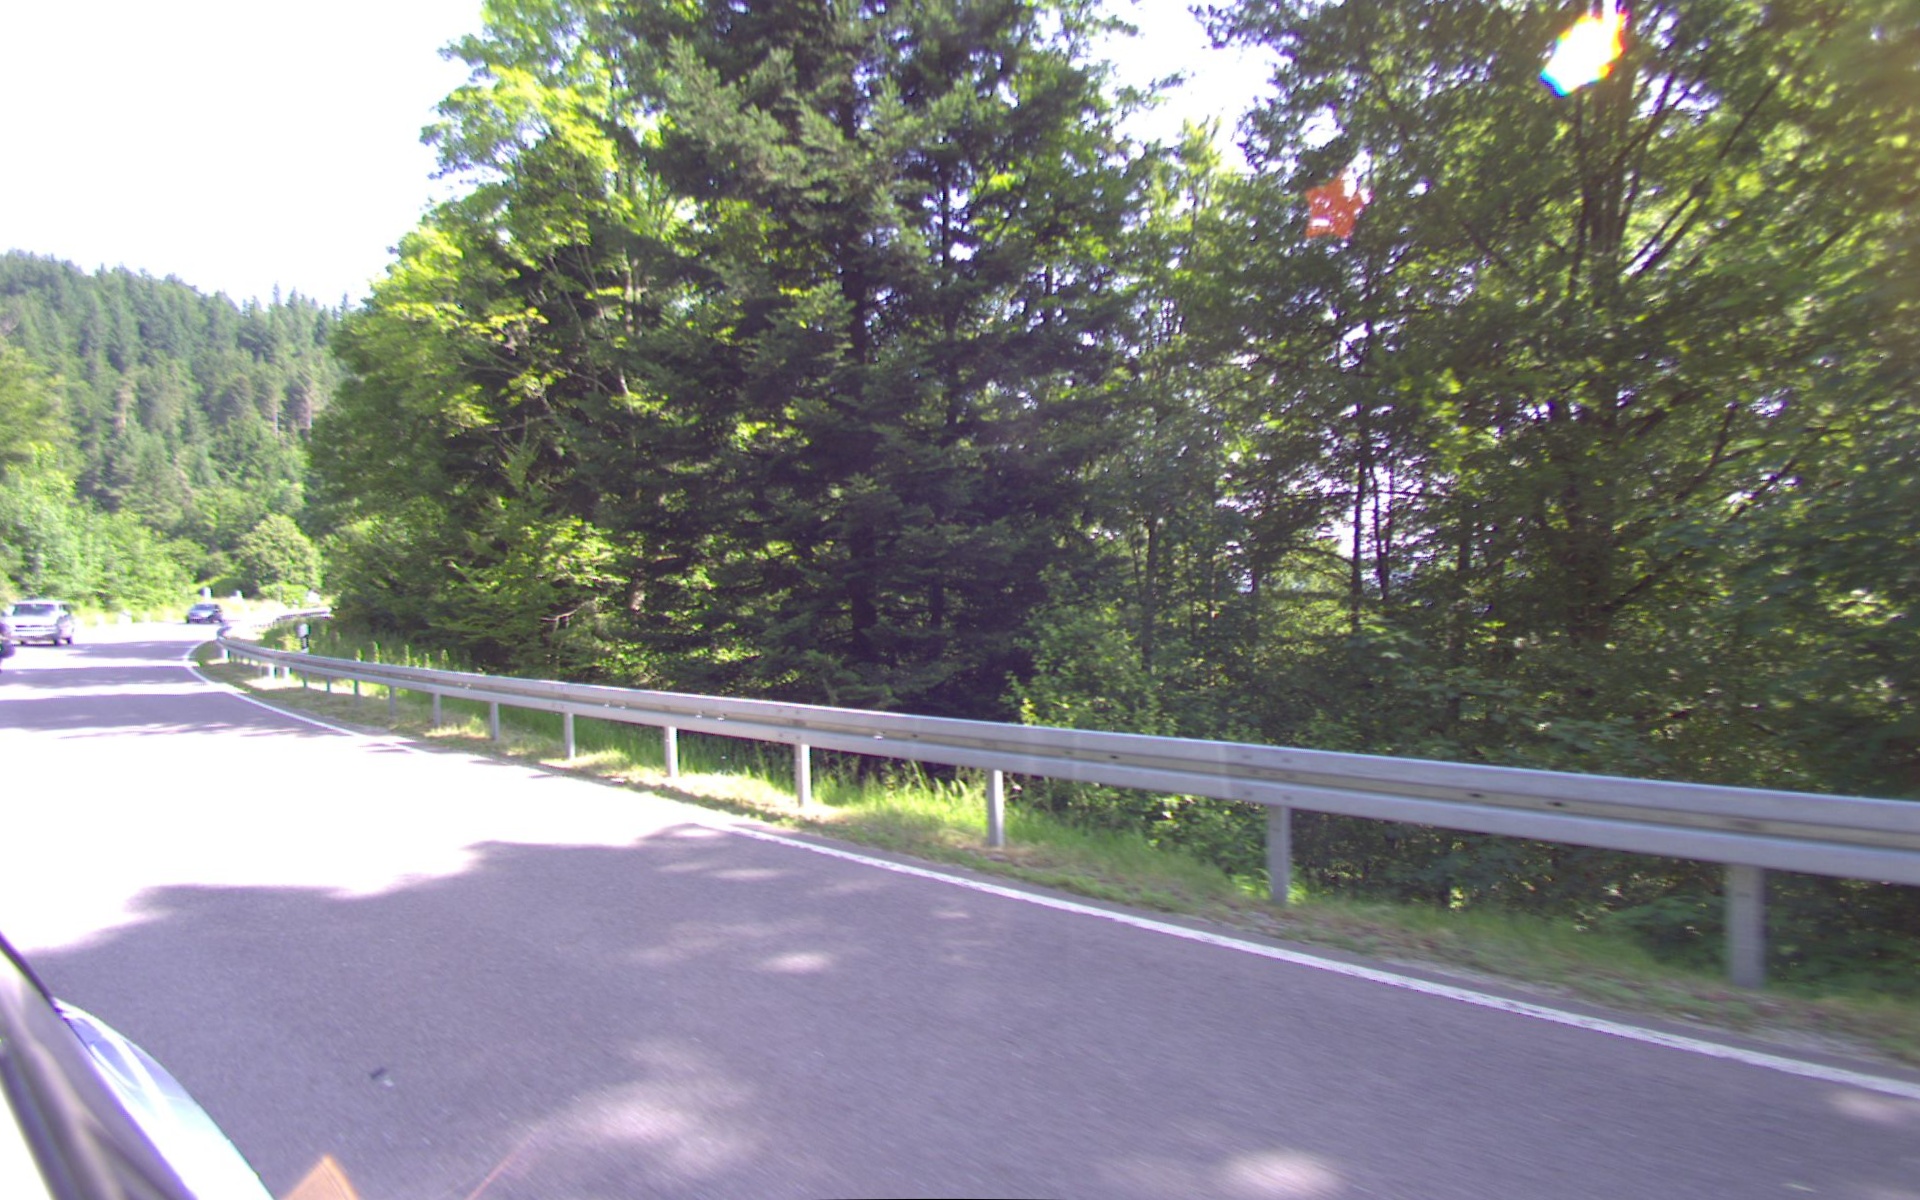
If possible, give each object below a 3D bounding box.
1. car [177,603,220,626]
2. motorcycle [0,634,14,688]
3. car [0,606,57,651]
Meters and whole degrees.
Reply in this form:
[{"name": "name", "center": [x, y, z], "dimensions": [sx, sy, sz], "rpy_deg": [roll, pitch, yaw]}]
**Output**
[{"name": "car", "center": [-56.812, 1.052, 75.533], "dimensions": [1.966, 1.655, 4.013], "rpy_deg": [-1, 1, -29]}, {"name": "motorcycle", "center": [-21.120, 1.307, 21.783], "dimensions": [1.094, 1.132, 1.962], "rpy_deg": [1, -1, -43]}, {"name": "car", "center": [-39.143, 1.177, 42.497], "dimensions": [1.628, 1.773, 3.801], "rpy_deg": [1, 0, -39]}]
